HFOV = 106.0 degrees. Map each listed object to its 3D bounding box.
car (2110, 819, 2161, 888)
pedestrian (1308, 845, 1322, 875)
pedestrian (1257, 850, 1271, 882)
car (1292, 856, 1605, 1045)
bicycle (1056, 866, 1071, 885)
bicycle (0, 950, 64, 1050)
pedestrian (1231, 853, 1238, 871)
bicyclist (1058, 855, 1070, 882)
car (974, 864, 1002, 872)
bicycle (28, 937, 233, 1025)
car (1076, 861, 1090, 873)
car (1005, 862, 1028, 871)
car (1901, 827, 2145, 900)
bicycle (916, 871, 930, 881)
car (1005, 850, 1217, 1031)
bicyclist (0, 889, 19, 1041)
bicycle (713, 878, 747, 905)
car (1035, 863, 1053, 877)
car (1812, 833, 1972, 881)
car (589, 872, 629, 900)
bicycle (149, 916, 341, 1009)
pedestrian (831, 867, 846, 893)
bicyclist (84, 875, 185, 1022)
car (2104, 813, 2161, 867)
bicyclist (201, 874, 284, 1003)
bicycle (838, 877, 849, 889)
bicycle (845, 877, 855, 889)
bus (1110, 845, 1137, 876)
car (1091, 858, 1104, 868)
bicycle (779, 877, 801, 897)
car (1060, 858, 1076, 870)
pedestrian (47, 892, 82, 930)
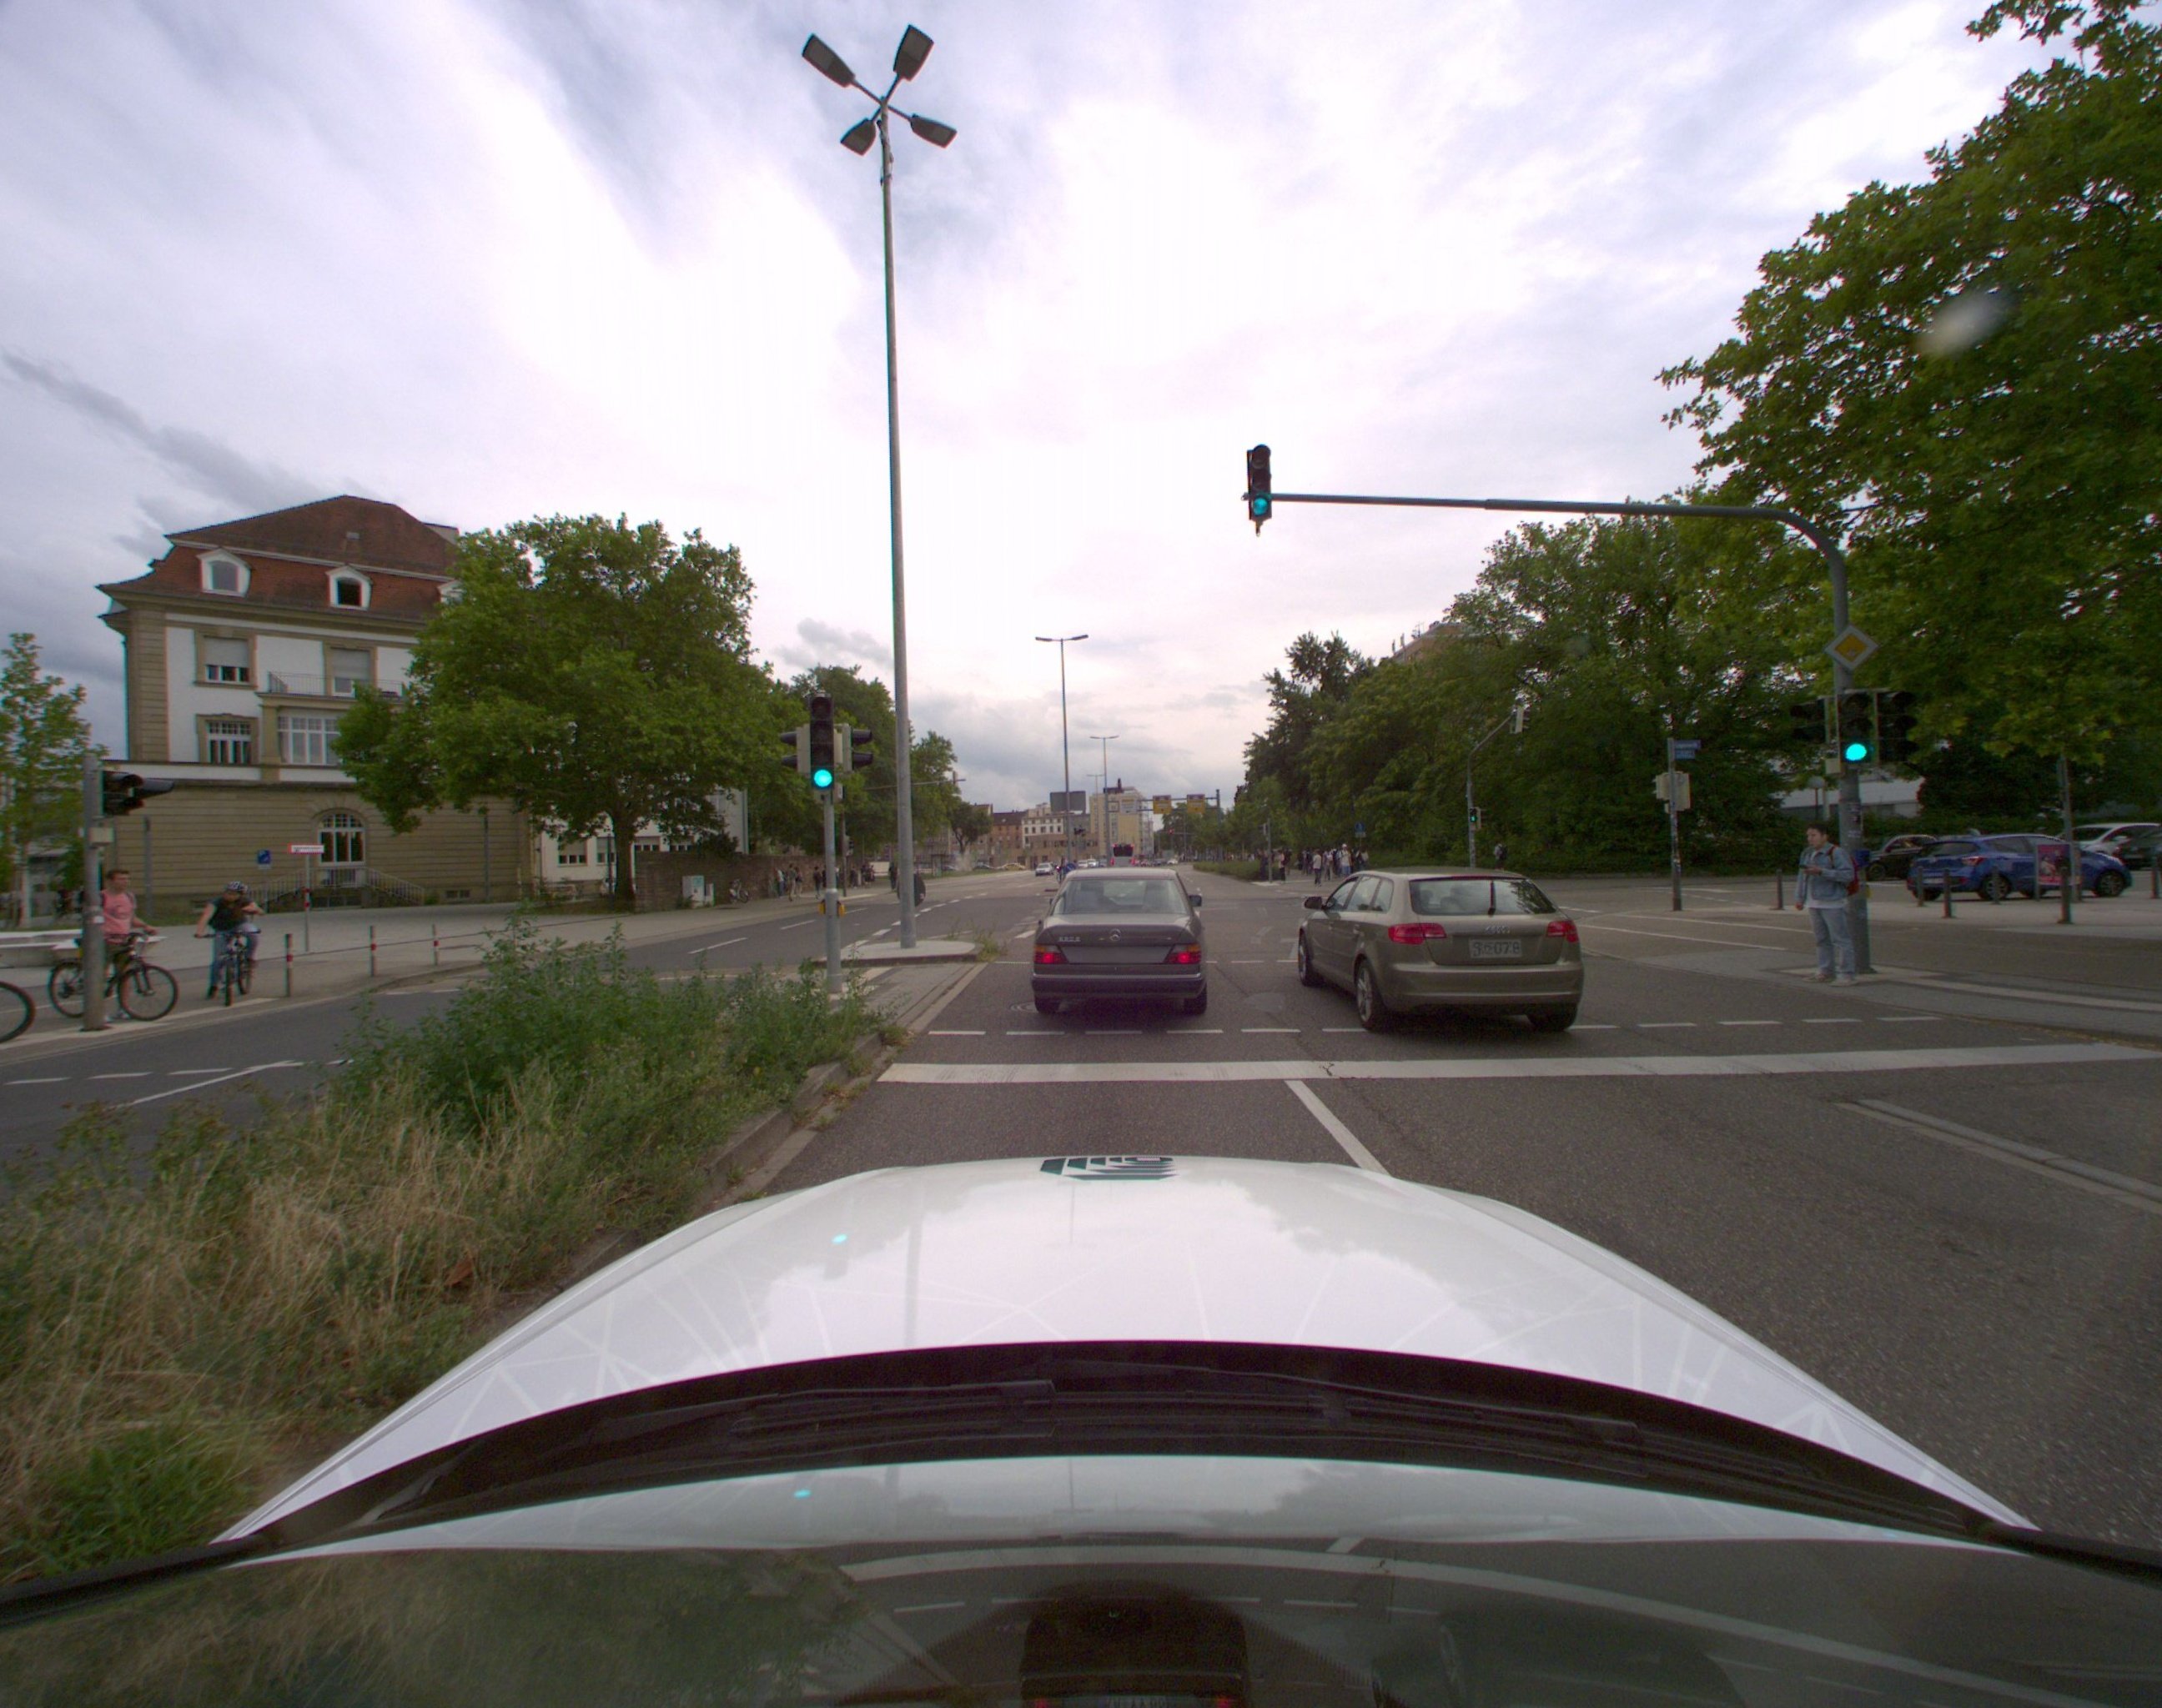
[{"bbox_3d":[26.396,-0.070,18.558,3.670,1.567,1.675,-2,-2,1],"label":"car"},{"bbox_3d":[14.672,0.357,51.144,0.653,1.821,0.813,-2,-1,5],"label":"pedestrian"},{"bbox_3d":[10.105,0.680,45.068,0.599,1.735,0.655,-2,-1,2],"label":"pedestrian"},{"bbox_3d":[3.390,0.784,8.335,1.716,1.457,3.740,-2,-1,4],"label":"car"},{"bbox_3d":[-1.070,1.307,49.469,0.570,1.055,1.931,-2,-1,9],"label":"bicycle"},{"bbox_3d":[-12.314,1.575,8.647,1.818,0.989,0.725,0,-1,-13],"label":"bicycle"},{"bbox_3d":[18.045,0.933,95.712,0.611,2.014,0.598,-2,-1,3],"label":"pedestrian"},{"bbox_3d":[-1.058,0.875,49.515,0.569,1.574,0.701,-2,-1,9],"label":"bicyclist"},{"bbox_3d":[-16.466,2.505,144.419,4.654,1.475,1.660,0,-1,-1],"label":"car"},{"bbox_3d":[-12.121,1.603,10.435,1.688,0.989,0.569,0,-1,-13],"label":"bicycle"},{"bbox_3d":[0.274,1.740,111.541,1.795,1.489,4.290,-2,-1,2],"label":"car"},{"bbox_3d":[-11.436,2.162,144.549,3.844,1.517,1.660,-1,-1,-1],"label":"car"},{"bbox_3d":[21.468,0.220,18.668,3.558,1.492,1.675,-2,-2,1],"label":"car"},{"bbox_3d":[-15.940,2.215,82.199,0.467,0.918,2.347,-2,-1,13],"label":"bicycle"},{"bbox_3d":[0.419,0.754,9.009,1.753,1.489,4.176,-2,-1,4],"label":"car"},{"bbox_3d":[-12.194,1.221,8.682,0.727,1.673,0.721,0,-1,-12],"label":"bicyclist"},{"bbox_3d":[-15.918,1.699,36.983,0.575,1.126,2.165,1,0,0],"label":"bicycle"},{"bbox_3d":[-4.272,1.853,94.599,1.754,1.489,4.548,-2,-1,2],"label":"car"},{"bbox_3d":[26.940,0.108,27.152,3.557,1.442,1.685,-2,-2,2],"label":"car"},{"bbox_3d":[-31.482,2.098,54.317,1.919,1.751,3.956,-1,-1,-35],"label":"car"},{"bbox_3d":[-12.115,1.546,11.859,1.892,1.170,0.604,-2,-1,-14],"label":"bicycle"},{"bbox_3d":[-15.960,1.709,53.535,0.762,1.671,0.917,-2,-3,-24],"label":"pedestrian"},{"bbox_3d":[-12.116,1.180,10.446,0.600,1.807,0.559,0,-1,-12],"label":"bicyclist"},{"bbox_3d":[36.663,-0.506,26.573,4.264,1.692,1.685,-2,-2,2],"label":"car"},{"bbox_3d":[-12.209,1.204,11.871,0.600,1.807,0.559,0,-1,-12],"label":"bicyclist"},{"bbox_3d":[-17.231,2.079,59.085,0.440,0.797,1.618,0,0,-4],"label":"bicycle"},{"bbox_3d":[-17.390,2.179,61.342,0.440,0.797,1.618,0,0,-4],"label":"bicycle"},{"bbox_3d":[4.852,0.734,92.928,2.819,3.390,8.189,-2,-1,3],"label":"bus"},{"bbox_3d":[2.640,1.450,132.203,1.793,1.511,4.108,-2,-1,4],"label":"car"},{"bbox_3d":[-16.201,1.841,45.324,0.547,1.058,1.979,1,0,-2],"label":"bicycle"},{"bbox_3d":[-1.836,1.454,115.866,1.889,1.616,4.747,-2,-1,3],"label":"car"},{"bbox_3d":[-56.757,3.172,45.489,0.921,2.014,1.218,-1,-1,-36],"label":"pedestrian"}]
